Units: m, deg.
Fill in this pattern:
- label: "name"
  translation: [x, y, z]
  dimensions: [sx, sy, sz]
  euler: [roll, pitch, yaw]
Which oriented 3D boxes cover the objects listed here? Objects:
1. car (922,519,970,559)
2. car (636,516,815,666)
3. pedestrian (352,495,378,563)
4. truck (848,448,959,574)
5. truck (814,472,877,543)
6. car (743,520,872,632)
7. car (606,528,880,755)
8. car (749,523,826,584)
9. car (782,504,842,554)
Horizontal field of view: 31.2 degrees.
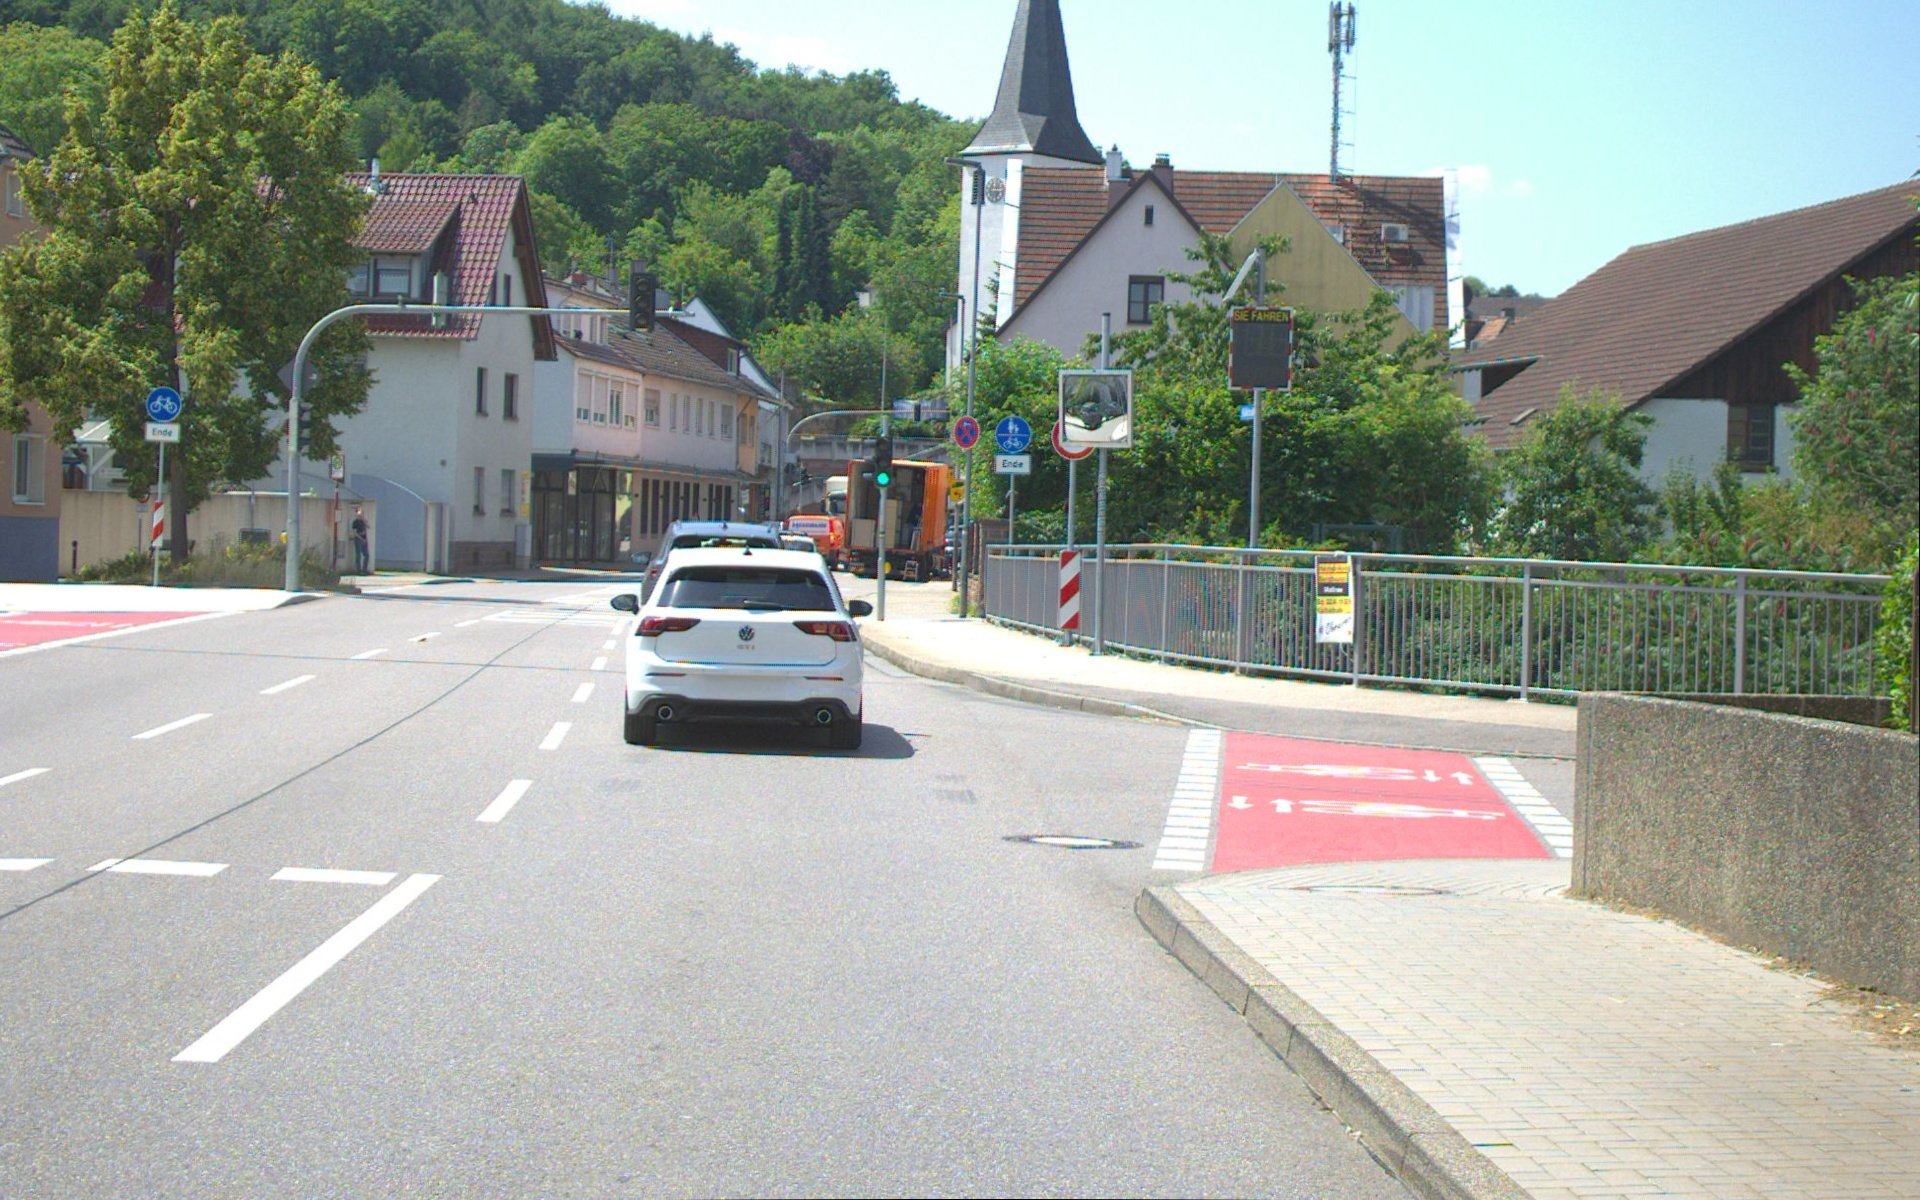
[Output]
- label: "car"
  translation: [-0.560, -2.380, 134.302]
  dimensions: [1.815, 1.514, 4.000]
  euler: [1, 1, -1]
- label: "car"
  translation: [-2.659, -0.121, 39.756]
  dimensions: [1.815, 1.623, 4.000]
  euler: [1, 1, -1]
- label: "pedestrian"
  translation: [-15.431, -1.846, 89.144]
  dimensions: [0.434, 1.758, 0.556]
  euler: [2, 1, 18]
- label: "truck"
  translation: [-1.877, -3.010, 119.149]
  dimensions: [3.367, 4.156, 9.519]
  euler: [1, 1, 2]
- label: "truck"
  translation: [-5.379, -4.357, 162.437]
  dimensions: [2.502, 3.224, 6.040]
  euler: [1, 1, 2]
- label: "car"
  translation: [-2.289, -0.369, 52.464]
  dimensions: [1.815, 1.623, 4.000]
  euler: [1, 1, -1]
- label: "car"
  translation: [-1.577, 0.272, 26.264]
  dimensions: [1.815, 1.514, 4.000]
  euler: [3, 1, -1]
- label: "car"
  translation: [-4.443, -1.193, 88.879]
  dimensions: [1.815, 1.514, 4.000]
  euler: [1, 1, -1]
- label: "car"
  translation: [-5.222, -2.498, 121.771]
  dimensions: [1.993, 1.699, 4.312]
  euler: [1, 1, -1]
